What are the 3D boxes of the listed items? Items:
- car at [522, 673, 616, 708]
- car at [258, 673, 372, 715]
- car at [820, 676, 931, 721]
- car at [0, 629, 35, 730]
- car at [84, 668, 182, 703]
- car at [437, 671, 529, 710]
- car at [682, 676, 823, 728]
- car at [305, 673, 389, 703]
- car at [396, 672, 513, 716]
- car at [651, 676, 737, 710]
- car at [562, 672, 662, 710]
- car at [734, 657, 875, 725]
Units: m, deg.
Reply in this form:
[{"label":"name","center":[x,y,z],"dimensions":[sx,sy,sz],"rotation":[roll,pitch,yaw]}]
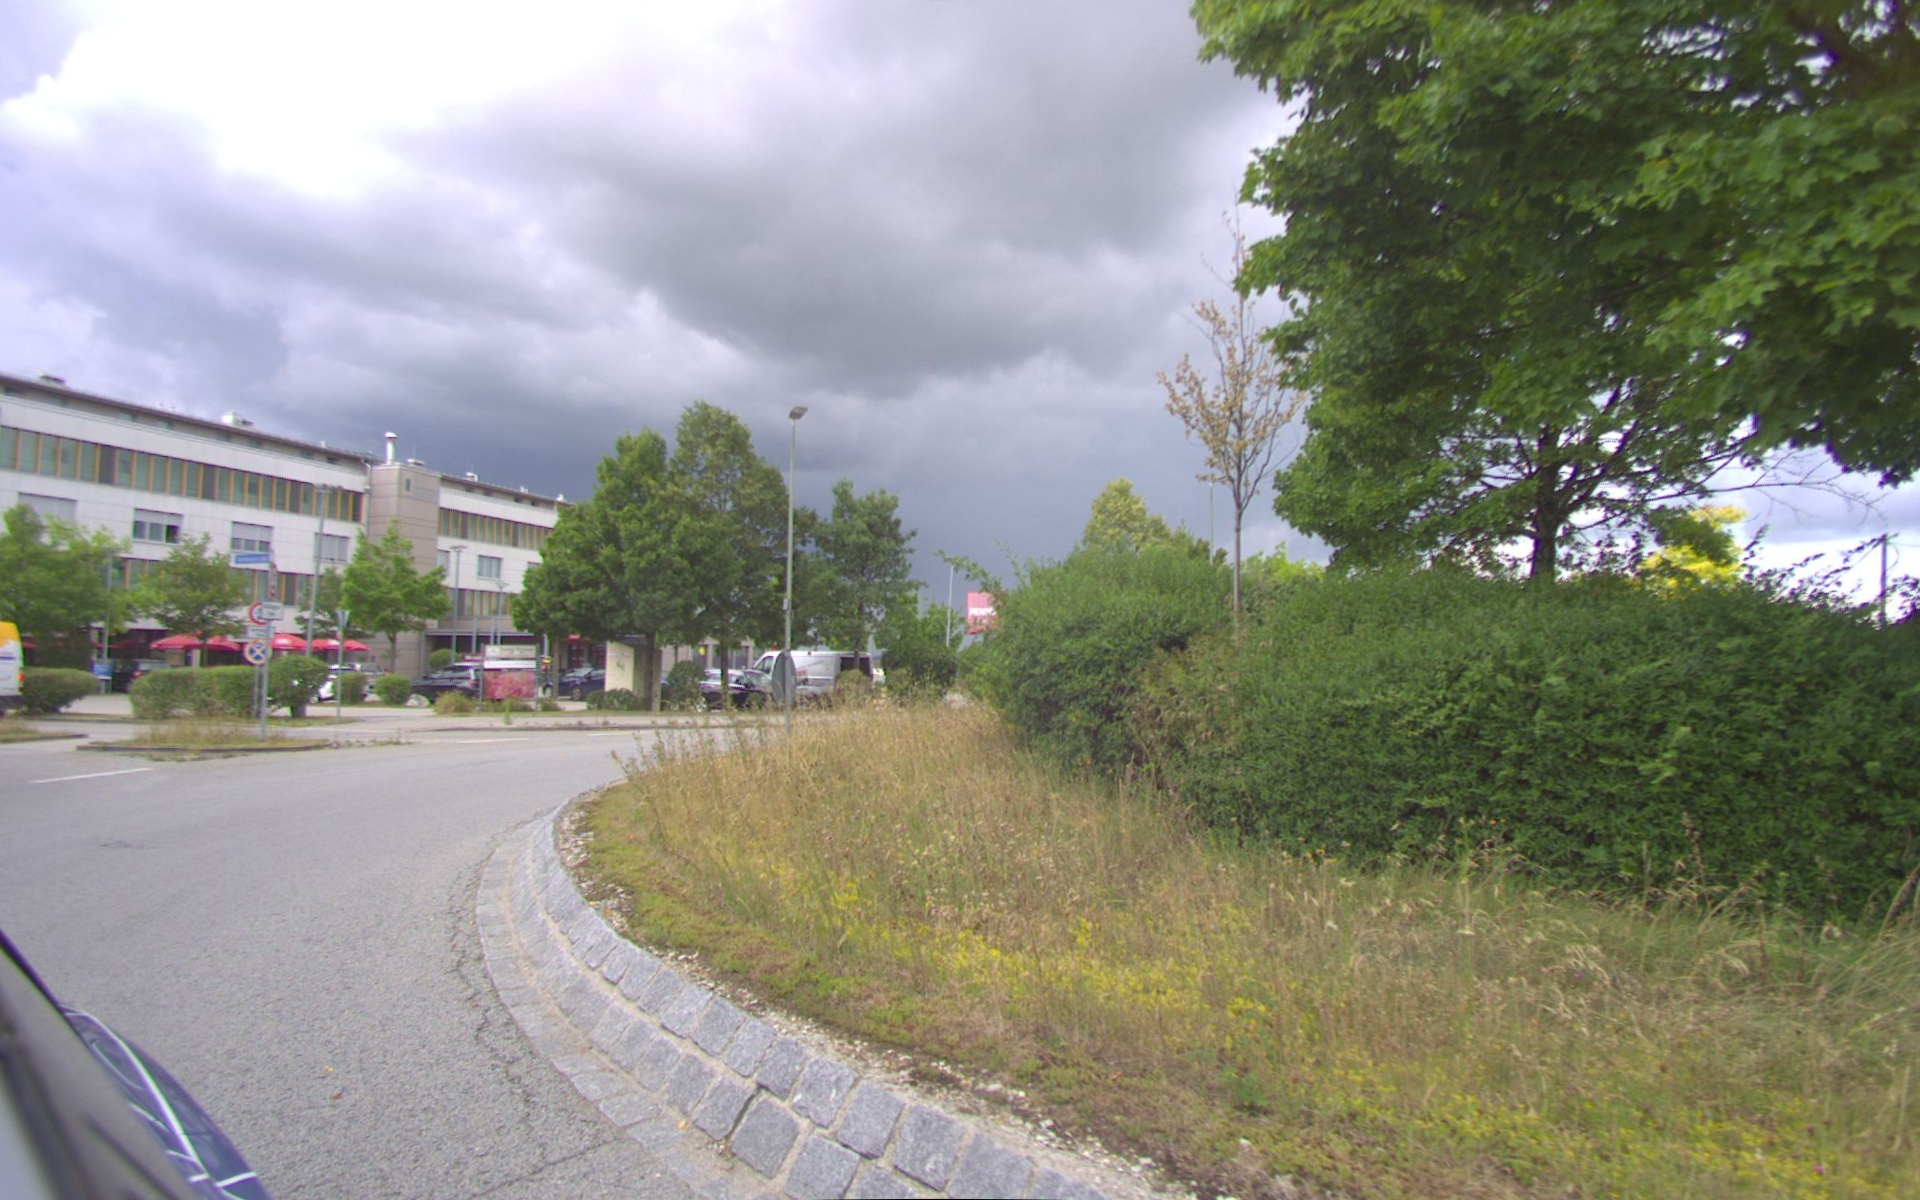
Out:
[{"label":"car","center":[-18.954,4.388,49.060],"dimensions":[4.052,1.551,1.769],"rotation":[-4,-6,17]},{"label":"car","center":[-24.093,3.515,37.811],"dimensions":[3.979,1.468,1.805],"rotation":[-4,-6,26]},{"label":"car","center":[-3.212,3.712,38.399],"dimensions":[3.924,1.568,1.744],"rotation":[-2,-6,31]},{"label":"car","center":[-26.141,1.984,25.370],"dimensions":[5.405,2.471,2.153],"rotation":[-2,-5,22]},{"label":"car","center":[-36.153,3.700,44.256],"dimensions":[3.979,1.468,1.805],"rotation":[-2,-5,27]},{"label":"car","center":[-20.536,3.894,43.547],"dimensions":[4.078,1.522,1.852],"rotation":[-6,-7,36]},{"label":"car","center":[-6.669,3.231,32.465],"dimensions":[4.400,1.505,1.744],"rotation":[-2,-6,31]},{"label":"car","center":[-31.208,4.458,51.527],"dimensions":[3.979,1.468,1.805],"rotation":[-2,-5,27]},{"label":"car","center":[-18.029,3.312,36.079],"dimensions":[3.984,1.468,1.803],"rotation":[-2,-5,30]},{"label":"car","center":[-12.332,4.290,46.855],"dimensions":[3.777,1.516,1.642],"rotation":[-3,-5,30]},{"label":"car","center":[-14.662,3.814,42.577],"dimensions":[3.983,1.554,1.803],"rotation":[-3,-5,30]},{"label":"car","center":[-5.353,3.083,34.766],"dimensions":[4.400,2.175,2.134],"rotation":[-2,-6,31]}]
